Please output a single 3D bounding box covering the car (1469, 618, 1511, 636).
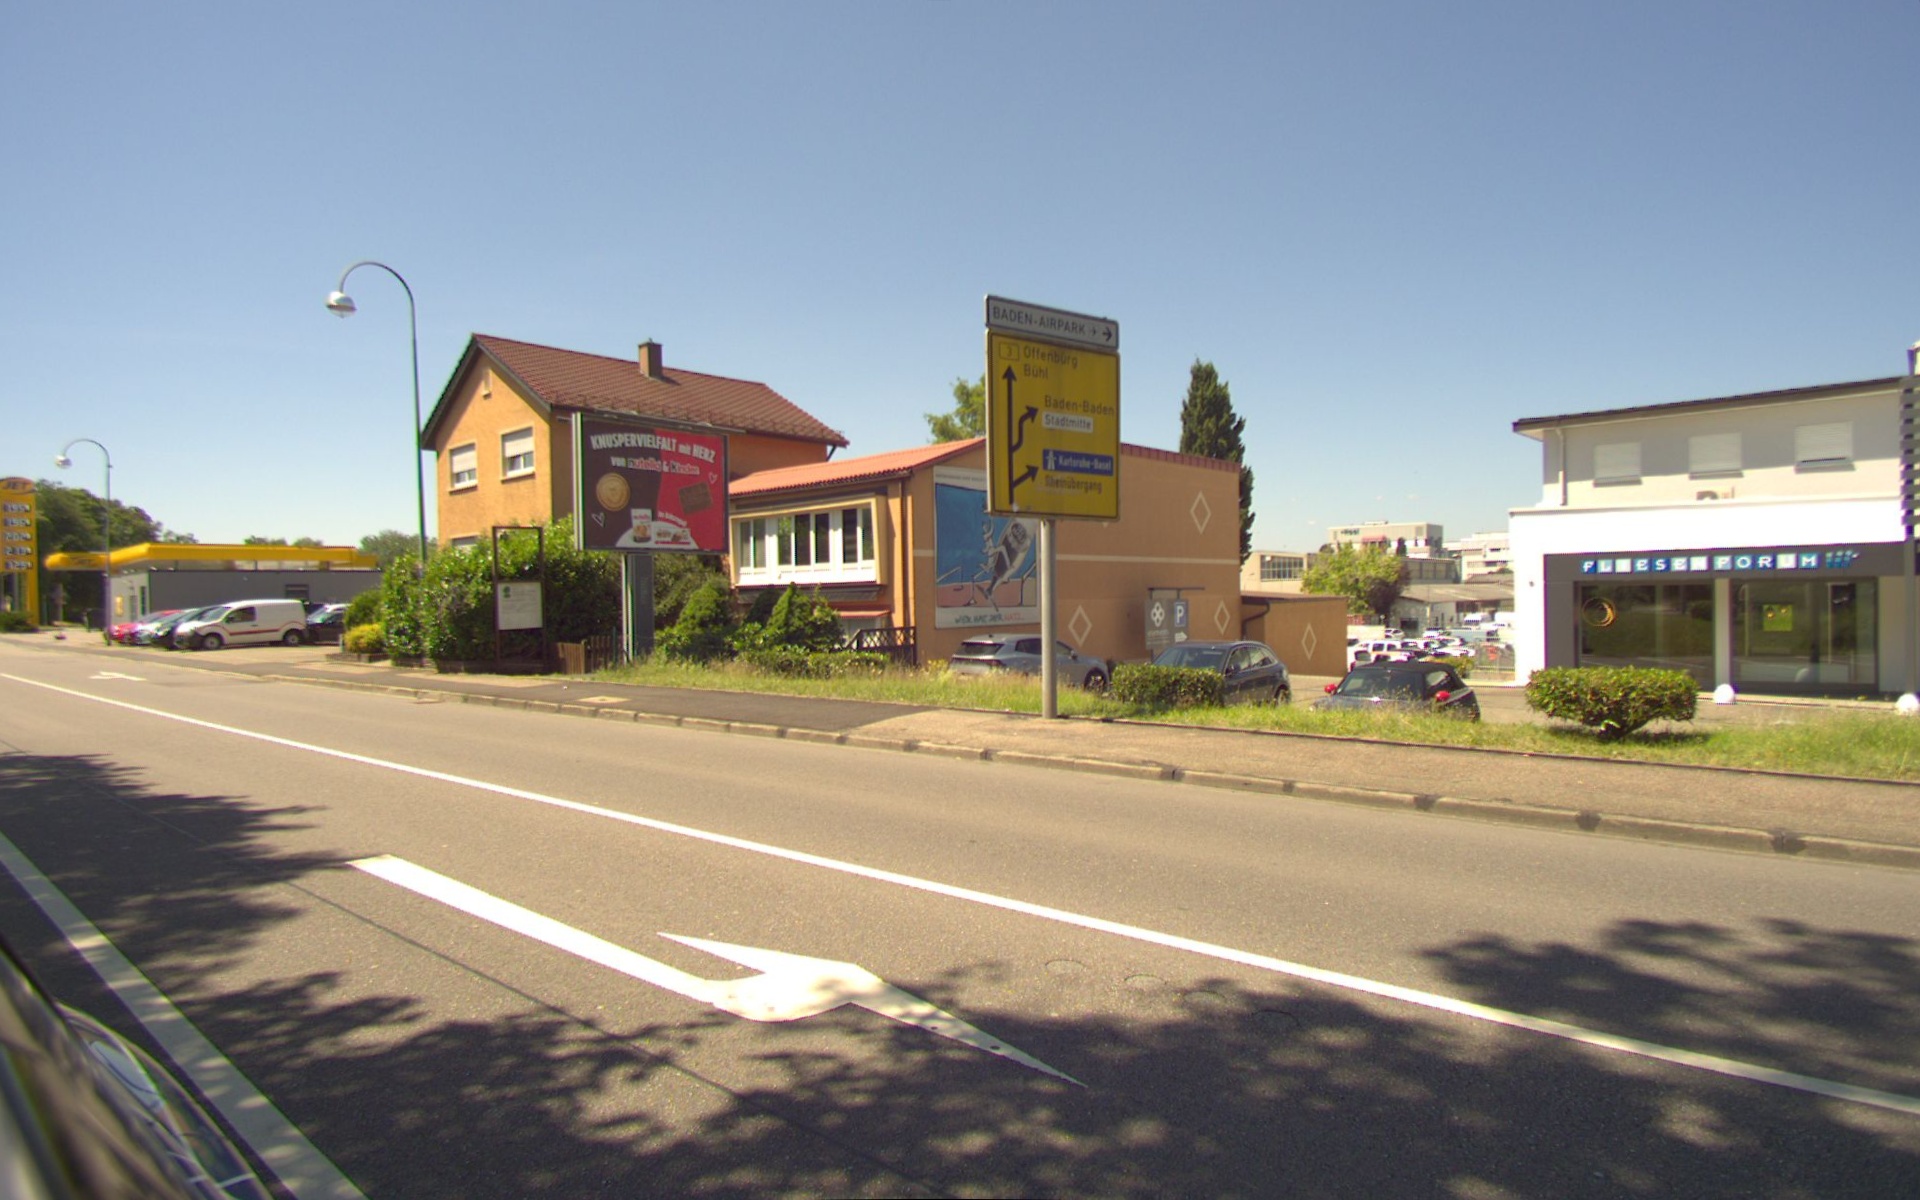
[{"bbox_3d":[58.407,2.981,111.608,3.775,1.768,1.707,-2,2,45],"label":"car"}]

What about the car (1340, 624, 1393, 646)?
[{"bbox_3d":[33.955,2.940,84.566,3.774,1.768,1.707,-1,-1,44],"label":"car"}]

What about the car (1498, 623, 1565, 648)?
[{"bbox_3d":[42.701,2.641,75.683,4.055,1.768,1.707,-1,-1,44],"label":"car"}]

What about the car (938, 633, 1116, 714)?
[{"bbox_3d":[1.636,1.630,23.647,4.165,1.621,1.773,0,-1,-42],"label":"car"}]

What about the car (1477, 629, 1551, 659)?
[{"bbox_3d":[34.974,2.753,63.971,3.774,1.768,1.707,-1,-1,44],"label":"car"}]

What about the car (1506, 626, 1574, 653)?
[{"bbox_3d":[39.898,2.685,69.702,3.774,1.768,1.707,-1,-1,44],"label":"car"}]

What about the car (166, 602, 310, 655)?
[{"bbox_3d":[-27.556,1.048,38.738,1.871,1.883,4.143,-1,-1,35],"label":"car"}]

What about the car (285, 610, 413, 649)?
[{"bbox_3d":[-26.181,1.240,43.523,1.871,1.575,4.351,-1,-1,35],"label":"car"}]

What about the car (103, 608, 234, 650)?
[{"bbox_3d":[-35.888,1.281,45.999,1.871,1.773,4.351,-1,-1,35],"label":"car"}]

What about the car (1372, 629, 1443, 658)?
[{"bbox_3d":[28.292,2.734,64.055,3.774,1.768,1.707,-1,-1,44],"label":"car"}]

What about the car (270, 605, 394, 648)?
[{"bbox_3d":[-27.882,1.138,45.051,1.871,1.839,4.351,0,0,35],"label":"car"}]

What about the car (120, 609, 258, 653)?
[{"bbox_3d":[-32.662,1.262,42.980,1.871,1.773,4.351,-1,-1,35],"label":"car"}]

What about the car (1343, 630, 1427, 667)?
[{"bbox_3d":[24.503,2.756,58.418,4.001,2.029,1.971,-1,-1,44],"label":"car"}]

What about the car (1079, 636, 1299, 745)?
[{"bbox_3d":[4.307,1.539,18.596,4.462,1.654,1.772,0,-1,-44],"label":"car"}]

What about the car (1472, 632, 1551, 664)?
[{"bbox_3d":[32.513,2.785,59.729,3.774,1.768,1.707,-1,-1,44],"label":"car"}]

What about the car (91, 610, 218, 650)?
[{"bbox_3d":[-37.770,1.390,47.554,1.871,1.773,4.351,-1,-1,35],"label":"car"}]

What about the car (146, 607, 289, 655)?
[{"bbox_3d":[-29.229,1.190,39.958,1.871,1.773,4.198,-1,-1,35],"label":"car"}]

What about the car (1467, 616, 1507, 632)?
[{"bbox_3d":[61.087,2.792,117.422,3.774,1.768,1.707,-1,2,44],"label":"car"}]

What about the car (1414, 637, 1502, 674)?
[{"bbox_3d":[26.019,2.873,52.919,3.774,1.768,1.707,-1,-1,44],"label":"car"}]

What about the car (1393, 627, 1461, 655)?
[{"bbox_3d":[31.100,2.706,67.440,3.774,1.768,1.707,-1,-1,44],"label":"car"}]

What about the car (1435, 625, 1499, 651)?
[{"bbox_3d":[36.510,2.725,72.936,3.774,1.768,1.707,-1,-1,44],"label":"car"}]

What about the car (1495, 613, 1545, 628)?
[{"bbox_3d":[71.710,2.629,129.613,5.303,1.768,2.037,-1,-1,44],"label":"car"}]

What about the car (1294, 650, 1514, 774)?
[{"bbox_3d":[7.118,1.654,16.052,4.039,1.544,1.772,0,-1,-44],"label":"car"}]

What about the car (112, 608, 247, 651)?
[{"bbox_3d":[-34.358,1.260,44.655,1.871,1.773,4.351,-1,-1,35],"label":"car"}]

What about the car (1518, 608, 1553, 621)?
[{"bbox_3d":[77.317,1.957,136.005,3.774,1.768,1.707,-1,-1,44],"label":"car"}]

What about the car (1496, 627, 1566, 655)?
[{"bbox_3d":[38.242,2.706,67.765,3.774,1.768,1.707,-1,-1,44],"label":"car"}]

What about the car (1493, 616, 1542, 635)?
[{"bbox_3d":[53.075,2.438,96.356,3.774,1.768,1.707,-1,0,44],"label":"car"}]

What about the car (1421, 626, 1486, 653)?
[{"bbox_3d":[34.483,2.750,70.734,3.774,1.768,1.707,-1,-1,44],"label":"car"}]
